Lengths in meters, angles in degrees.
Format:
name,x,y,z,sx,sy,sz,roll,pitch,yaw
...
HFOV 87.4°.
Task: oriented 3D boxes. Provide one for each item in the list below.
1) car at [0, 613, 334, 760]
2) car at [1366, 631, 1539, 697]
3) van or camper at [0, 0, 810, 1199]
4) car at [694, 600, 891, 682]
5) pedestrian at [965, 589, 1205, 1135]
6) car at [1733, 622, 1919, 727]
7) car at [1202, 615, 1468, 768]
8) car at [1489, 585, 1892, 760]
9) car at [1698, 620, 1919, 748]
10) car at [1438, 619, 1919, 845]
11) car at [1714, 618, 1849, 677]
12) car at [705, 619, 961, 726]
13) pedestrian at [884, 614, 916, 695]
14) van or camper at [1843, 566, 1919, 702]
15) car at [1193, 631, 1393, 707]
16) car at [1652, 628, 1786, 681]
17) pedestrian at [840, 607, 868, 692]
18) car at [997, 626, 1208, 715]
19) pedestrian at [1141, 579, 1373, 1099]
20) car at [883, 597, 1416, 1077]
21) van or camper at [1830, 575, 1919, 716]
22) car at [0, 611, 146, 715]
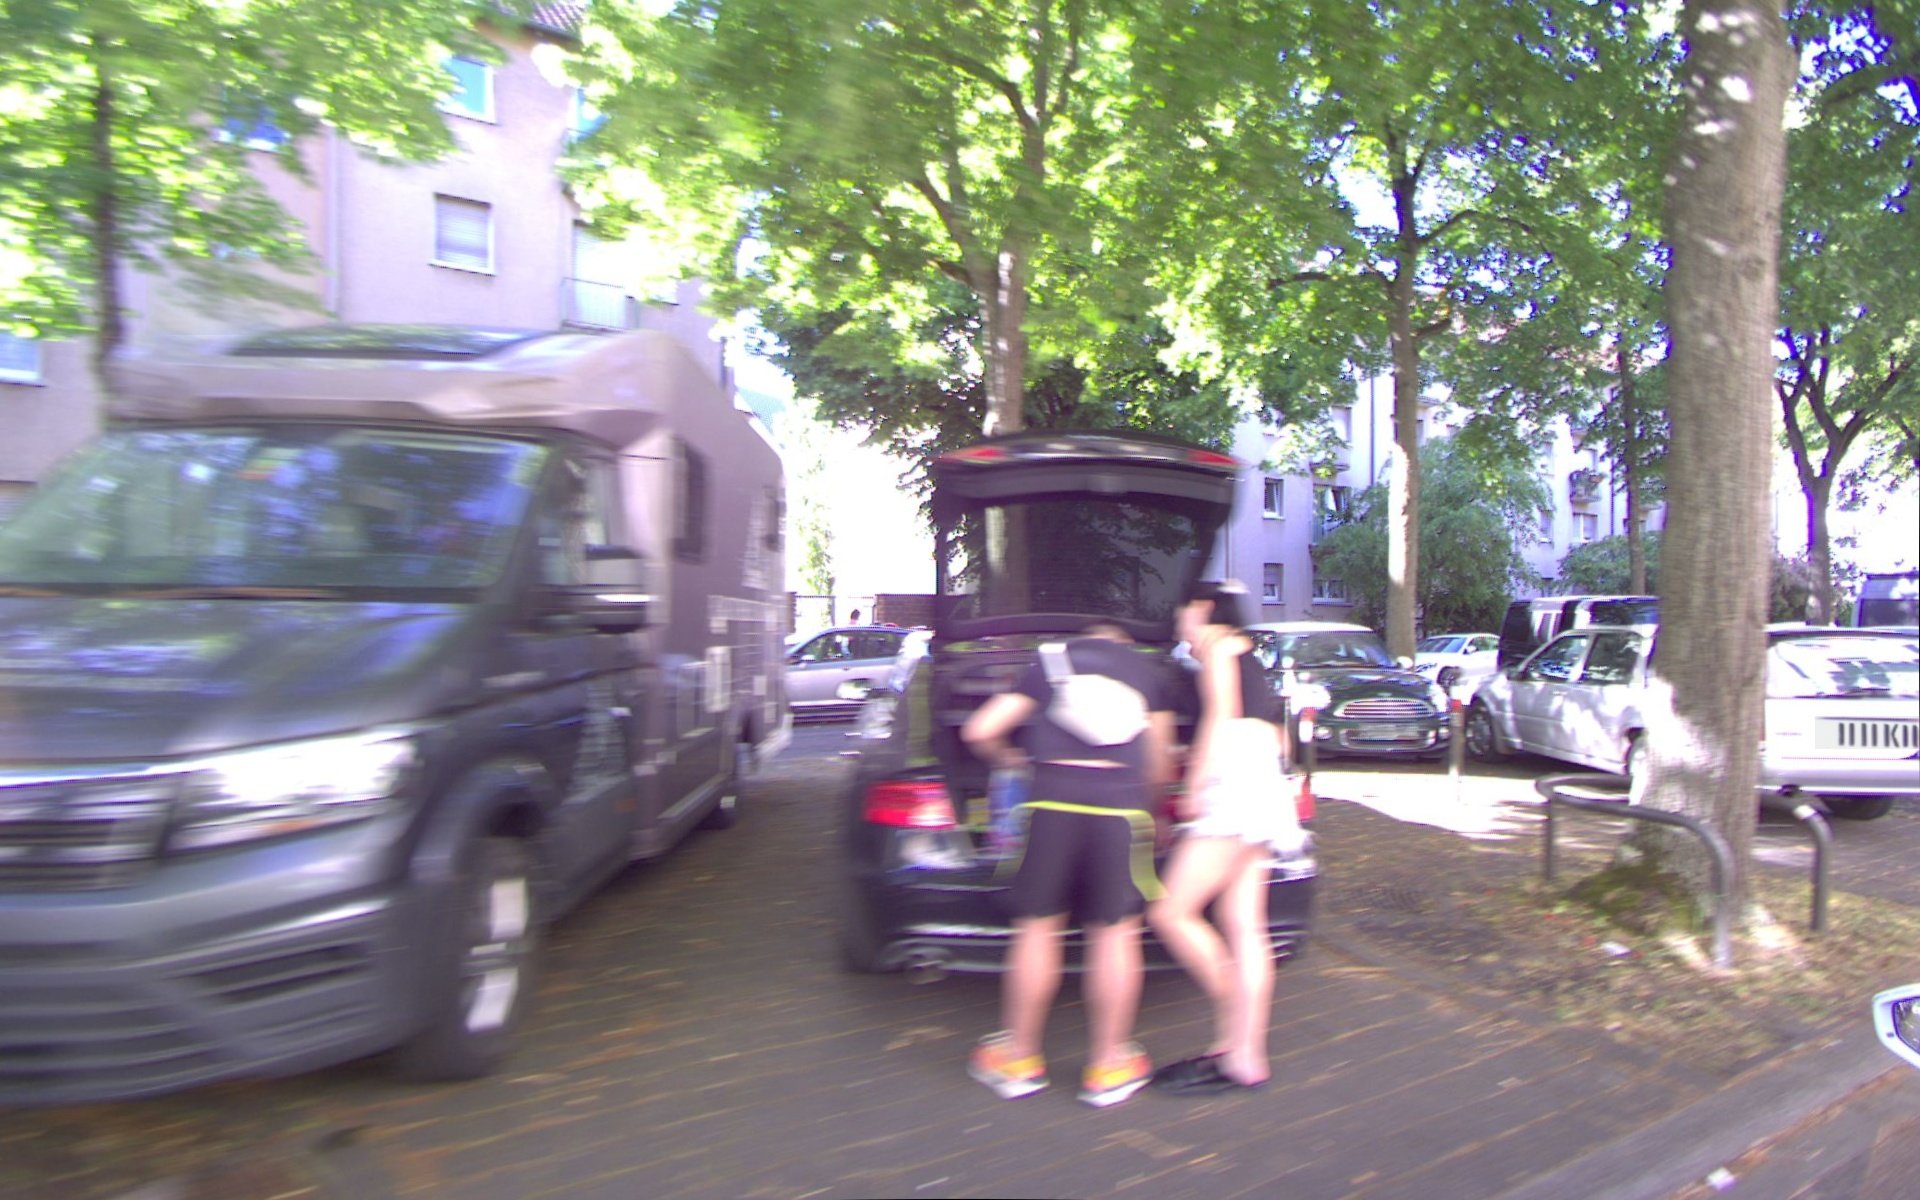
name,x,y,z,sx,sy,sz,roll,pitch,yaw
car,-9.777,0.923,11.585,4.258,1.528,1.755,1,-1,-30
car,11.946,1.484,24.299,4.311,1.443,1.656,1,-1,-30
van or camper,-2.380,-0.060,5.696,2.269,2.968,7.248,0,-1,-3
car,-3.335,0.790,20.079,3.569,1.501,1.617,1,-1,-30
pedestrian,0.351,0.718,3.112,0.585,1.475,0.711,0,-1,-7
car,14.325,1.086,15.541,1.687,1.450,4.000,0,-1,1
car,3.996,0.905,11.339,1.642,1.443,3.574,0,-1,-1
car,8.696,0.780,12.588,1.774,1.787,4.561,0,-1,1
car,11.896,1.000,12.945,1.810,1.462,3.956,0,-1,-2
car,6.031,0.908,8.846,1.698,1.462,4.491,0,-1,3
car,27.119,1.550,33.120,4.787,1.827,1.809,1,-2,-29
car,-1.998,1.079,16.021,3.725,1.519,1.656,1,-1,-30
pedestrian,-1.326,1.198,22.160,0.552,1.750,0.497,1,-1,-30
van or camper,20.002,0.648,18.522,2.211,2.672,5.888,0,-1,0
car,7.106,1.401,21.326,4.245,1.443,1.656,1,-1,-30
car,22.865,1.613,30.243,3.917,1.475,1.809,1,-1,-29
pedestrian,-2.335,1.076,22.130,0.457,1.851,0.497,1,-1,-30
car,2.706,1.258,18.912,3.725,1.519,1.656,1,-1,-30
pedestrian,0.915,0.687,3.197,0.510,1.475,0.616,0,-1,-7
car,0.485,0.755,5.233,1.643,1.443,4.328,0,-1,-3
van or camper,16.951,0.720,15.365,2.179,2.305,5.512,0,-1,-6
car,-13.795,0.856,13.991,3.569,1.405,1.617,1,-1,-30
